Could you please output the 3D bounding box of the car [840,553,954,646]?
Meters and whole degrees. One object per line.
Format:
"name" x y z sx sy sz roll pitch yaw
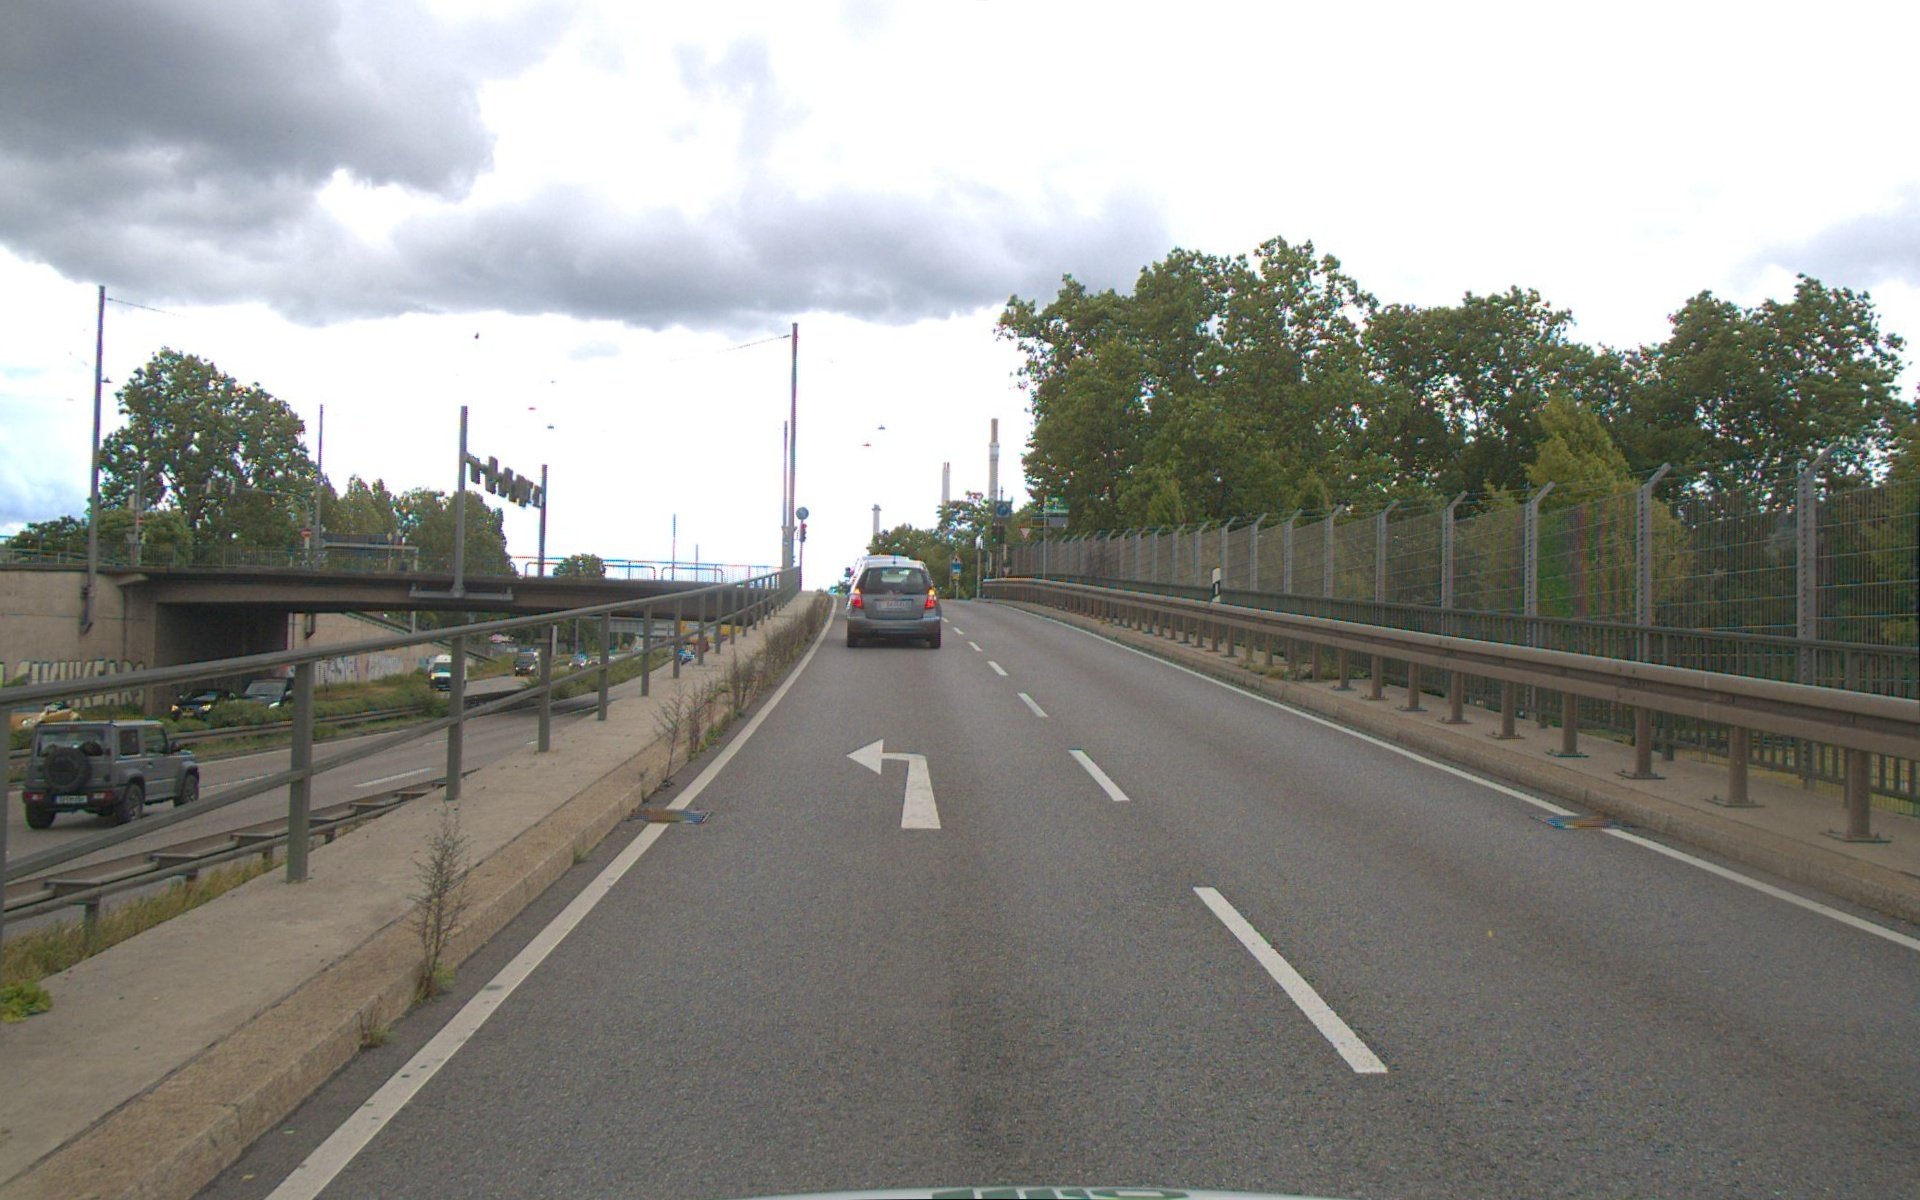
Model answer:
"car" -1.120 0.015 31.320 1.713 1.608 4.086 1 -1 4

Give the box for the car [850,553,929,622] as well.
"car" -1.825 -0.366 42.572 1.954 1.631 3.999 0 2 -3

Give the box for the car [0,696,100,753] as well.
"car" -30.939 4.144 55.412 1.954 1.750 4.699 0 -2 -3

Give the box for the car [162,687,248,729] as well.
"car" -33.139 4.727 72.739 1.954 1.722 4.698 0 -2 -5

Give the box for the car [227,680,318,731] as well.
"car" -29.221 4.456 70.458 2.051 2.024 5.110 0 -3 -4

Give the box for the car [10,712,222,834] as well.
"car" -14.207 2.860 28.089 1.647 1.766 3.996 0 -2 -2
